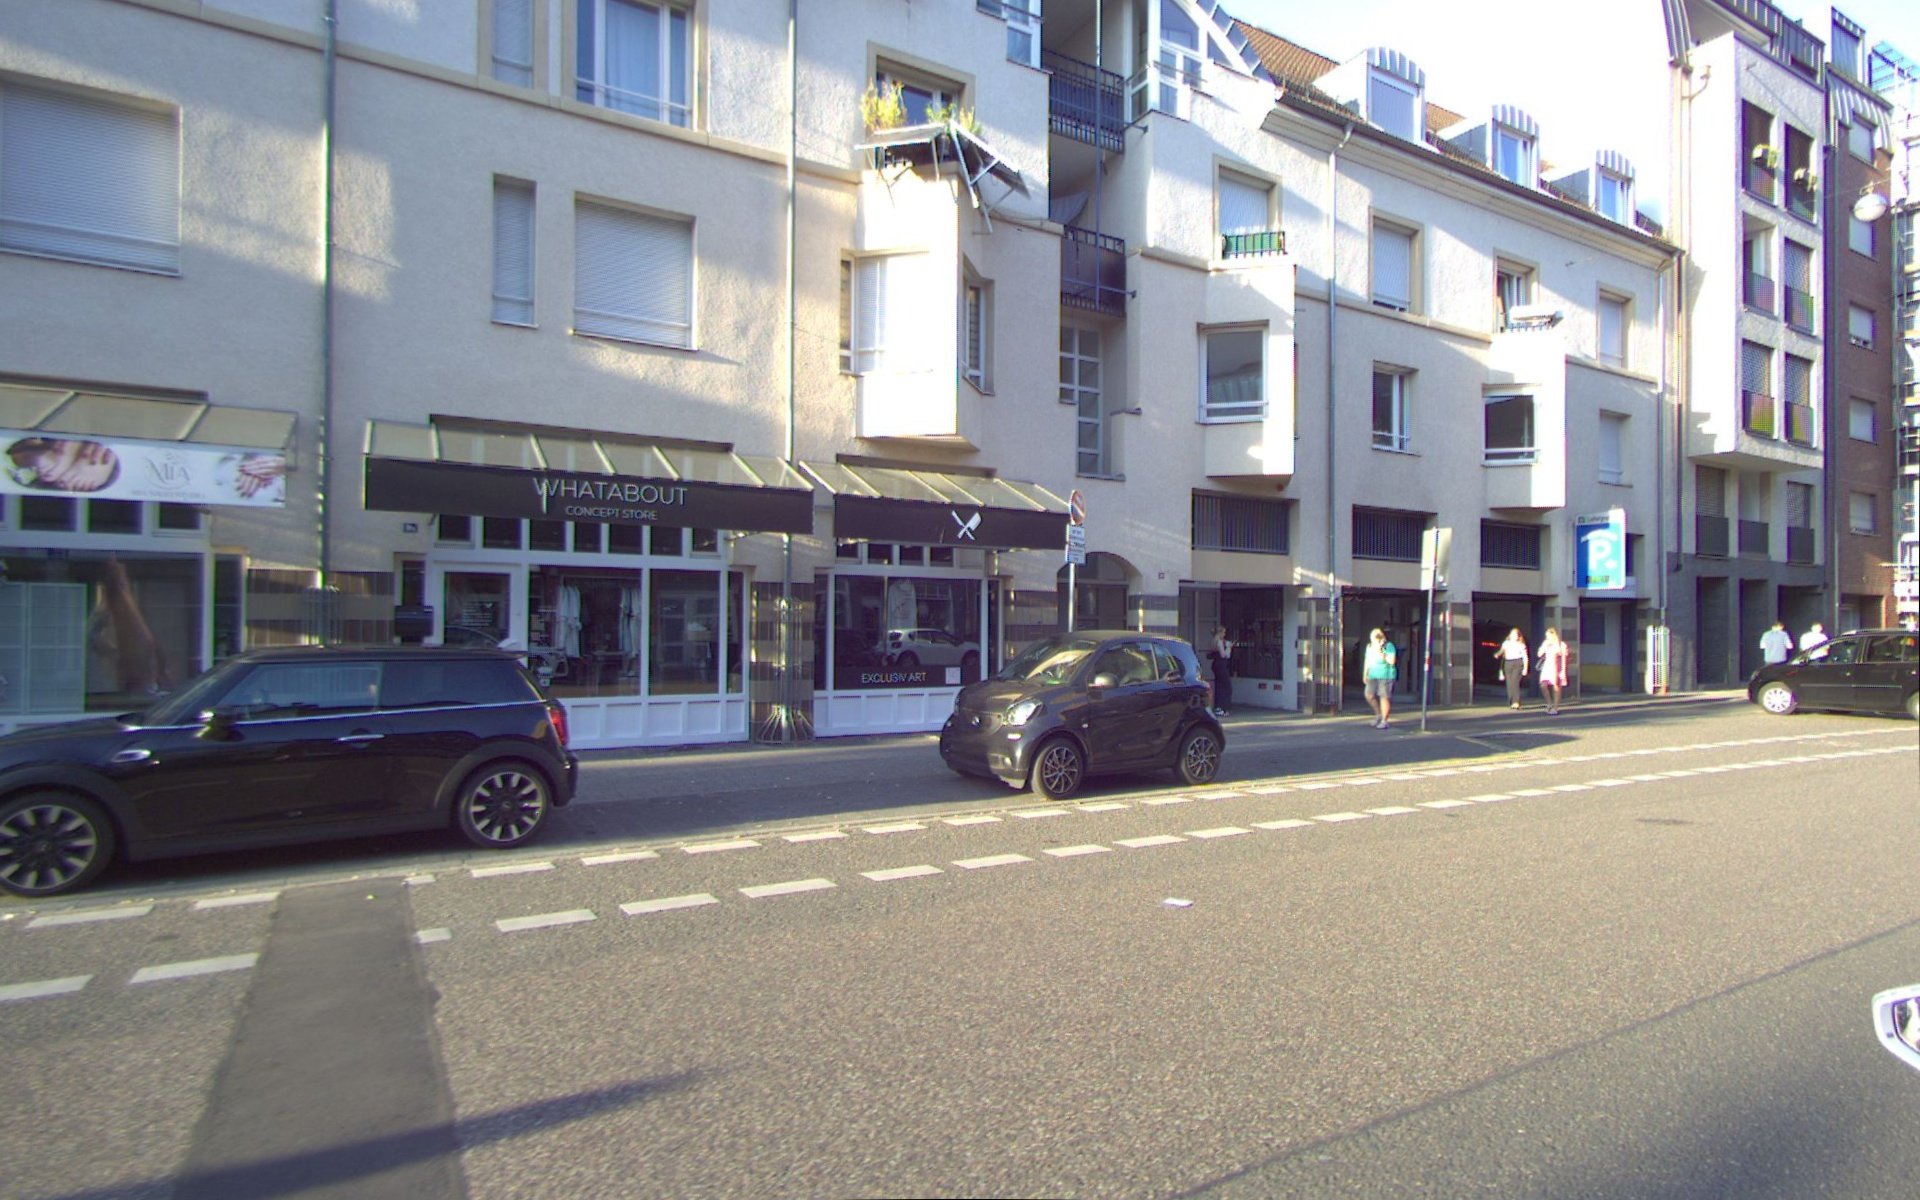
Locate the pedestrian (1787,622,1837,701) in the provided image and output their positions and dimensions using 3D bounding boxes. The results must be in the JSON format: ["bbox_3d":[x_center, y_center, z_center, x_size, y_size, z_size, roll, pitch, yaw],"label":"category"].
[{"bbox_3d":[19.573,1.405,23.086,0.732,1.763,0.711,2,0,-37],"label":"pedestrian"}]

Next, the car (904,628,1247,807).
[{"bbox_3d":[1.224,1.079,10.453,3.155,1.555,1.782,1,-1,-33],"label":"car"}]

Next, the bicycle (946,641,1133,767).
[{"bbox_3d":[0.999,1.223,12.226,2.331,1.393,0.607,2,0,-31],"label":"bicycle"}]

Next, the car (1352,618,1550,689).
[{"bbox_3d":[12.978,1.367,26.841,1.974,1.623,4.479,2,0,-26],"label":"car"}]

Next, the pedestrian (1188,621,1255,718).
[{"bbox_3d":[4.588,1.199,17.643,0.844,1.637,0.714,2,0,-27],"label":"pedestrian"}]

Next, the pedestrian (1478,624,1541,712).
[{"bbox_3d":[10.789,1.314,19.729,0.843,1.663,0.714,2,0,-25],"label":"pedestrian"}]

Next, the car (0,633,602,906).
[{"bbox_3d":[-4.618,1.024,7.103,3.681,1.473,1.703,2,0,-30],"label":"car"}]

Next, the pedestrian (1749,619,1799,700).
[{"bbox_3d":[18.659,1.350,23.029,0.688,1.790,0.711,2,0,-37],"label":"pedestrian"}]

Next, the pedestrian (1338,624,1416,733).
[{"bbox_3d":[6.690,1.240,16.111,0.941,1.663,0.712,2,0,-32],"label":"pedestrian"}]

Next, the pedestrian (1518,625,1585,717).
[{"bbox_3d":[11.156,1.326,18.946,0.844,1.663,0.714,2,0,-25],"label":"pedestrian"}]

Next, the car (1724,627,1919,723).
[{"bbox_3d":[16.969,1.338,18.453,1.965,1.622,4.500,2,-2,-12],"label":"car"}]
